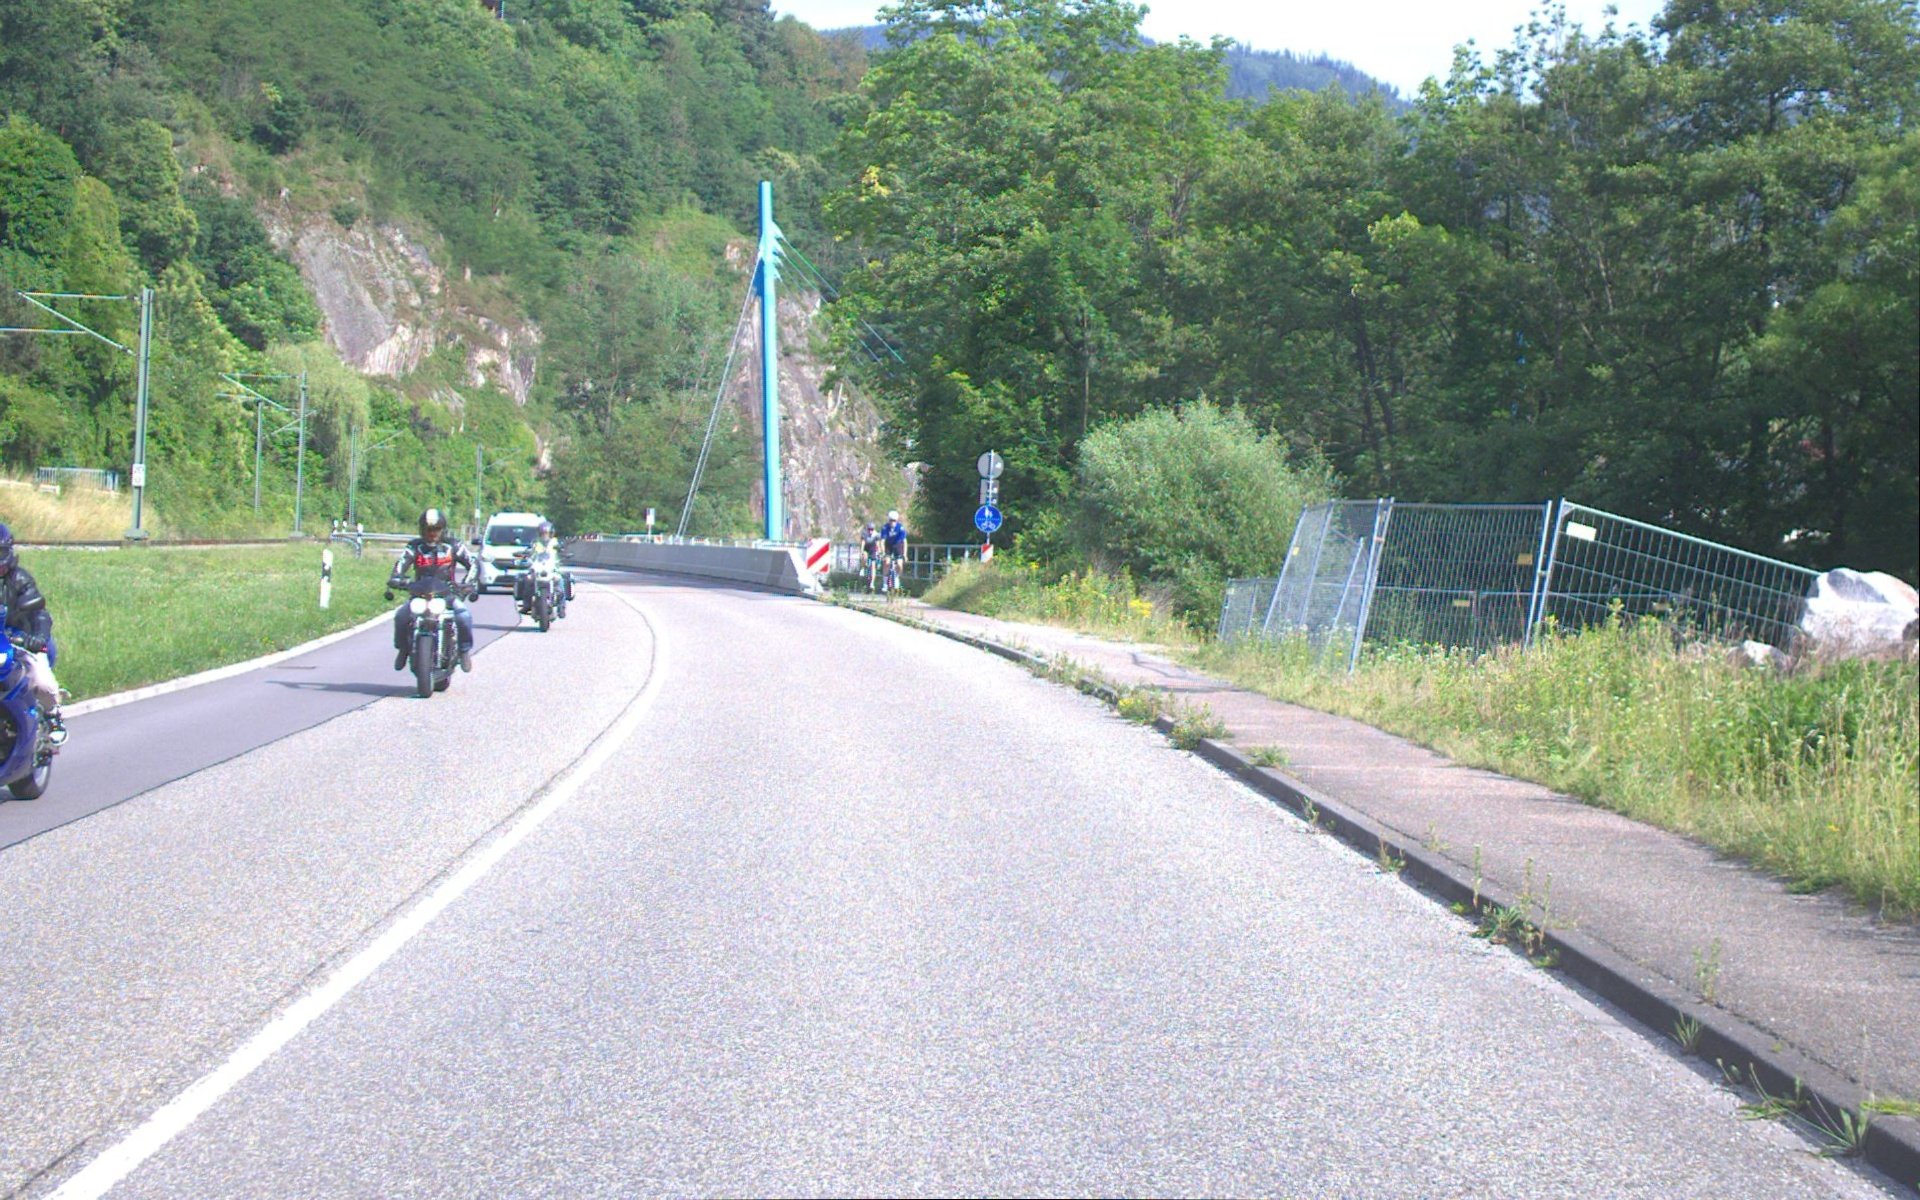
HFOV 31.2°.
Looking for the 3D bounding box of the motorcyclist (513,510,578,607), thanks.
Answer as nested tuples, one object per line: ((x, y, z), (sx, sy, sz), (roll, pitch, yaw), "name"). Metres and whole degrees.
((-6.286, -0.637, 52.145), (0.858, 1.418, 0.964), (1, 2, -1), "motorcyclist")

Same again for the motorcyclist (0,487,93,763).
((-5.176, 0.110, 18.299), (0.843, 1.418, 0.964), (1, 2, 2), "motorcyclist")

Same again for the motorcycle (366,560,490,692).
((-4.921, 0.221, 31.903), (0.862, 1.126, 2.126), (1, 2, -2), "motorcycle")

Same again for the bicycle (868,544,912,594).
((-1.401, -0.626, 68.690), (0.648, 0.939, 1.848), (4, 1, -7), "bicycle")

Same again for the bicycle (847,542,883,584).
((-2.231, -0.884, 80.722), (0.600, 0.913, 1.848), (4, 1, -7), "bicycle")

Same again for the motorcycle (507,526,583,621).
((-6.294, -0.420, 52.259), (0.862, 1.378, 2.403), (1, 2, -1), "motorcycle")

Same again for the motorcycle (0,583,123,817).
((-5.177, 0.499, 18.414), (0.862, 1.126, 1.968), (1, 2, 1), "motorcycle")

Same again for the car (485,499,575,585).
((-9.659, -1.325, 77.160), (1.869, 1.775, 4.601), (2, 2, -7), "car")

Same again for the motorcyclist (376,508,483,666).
((-4.903, -0.131, 31.822), (0.843, 1.418, 0.964), (1, 2, -2), "motorcyclist")

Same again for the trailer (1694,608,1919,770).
((11.132, 1.091, 43.072), (2.053, 1.816, 4.793), (3, 0, -10), "trailer")

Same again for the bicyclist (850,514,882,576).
((-2.205, -1.296, 80.755), (0.592, 1.396, 0.762), (4, 1, -7), "bicyclist")

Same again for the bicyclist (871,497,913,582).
((-1.362, -1.216, 68.746), (0.641, 1.648, 0.809), (4, 1, -7), "bicyclist")
